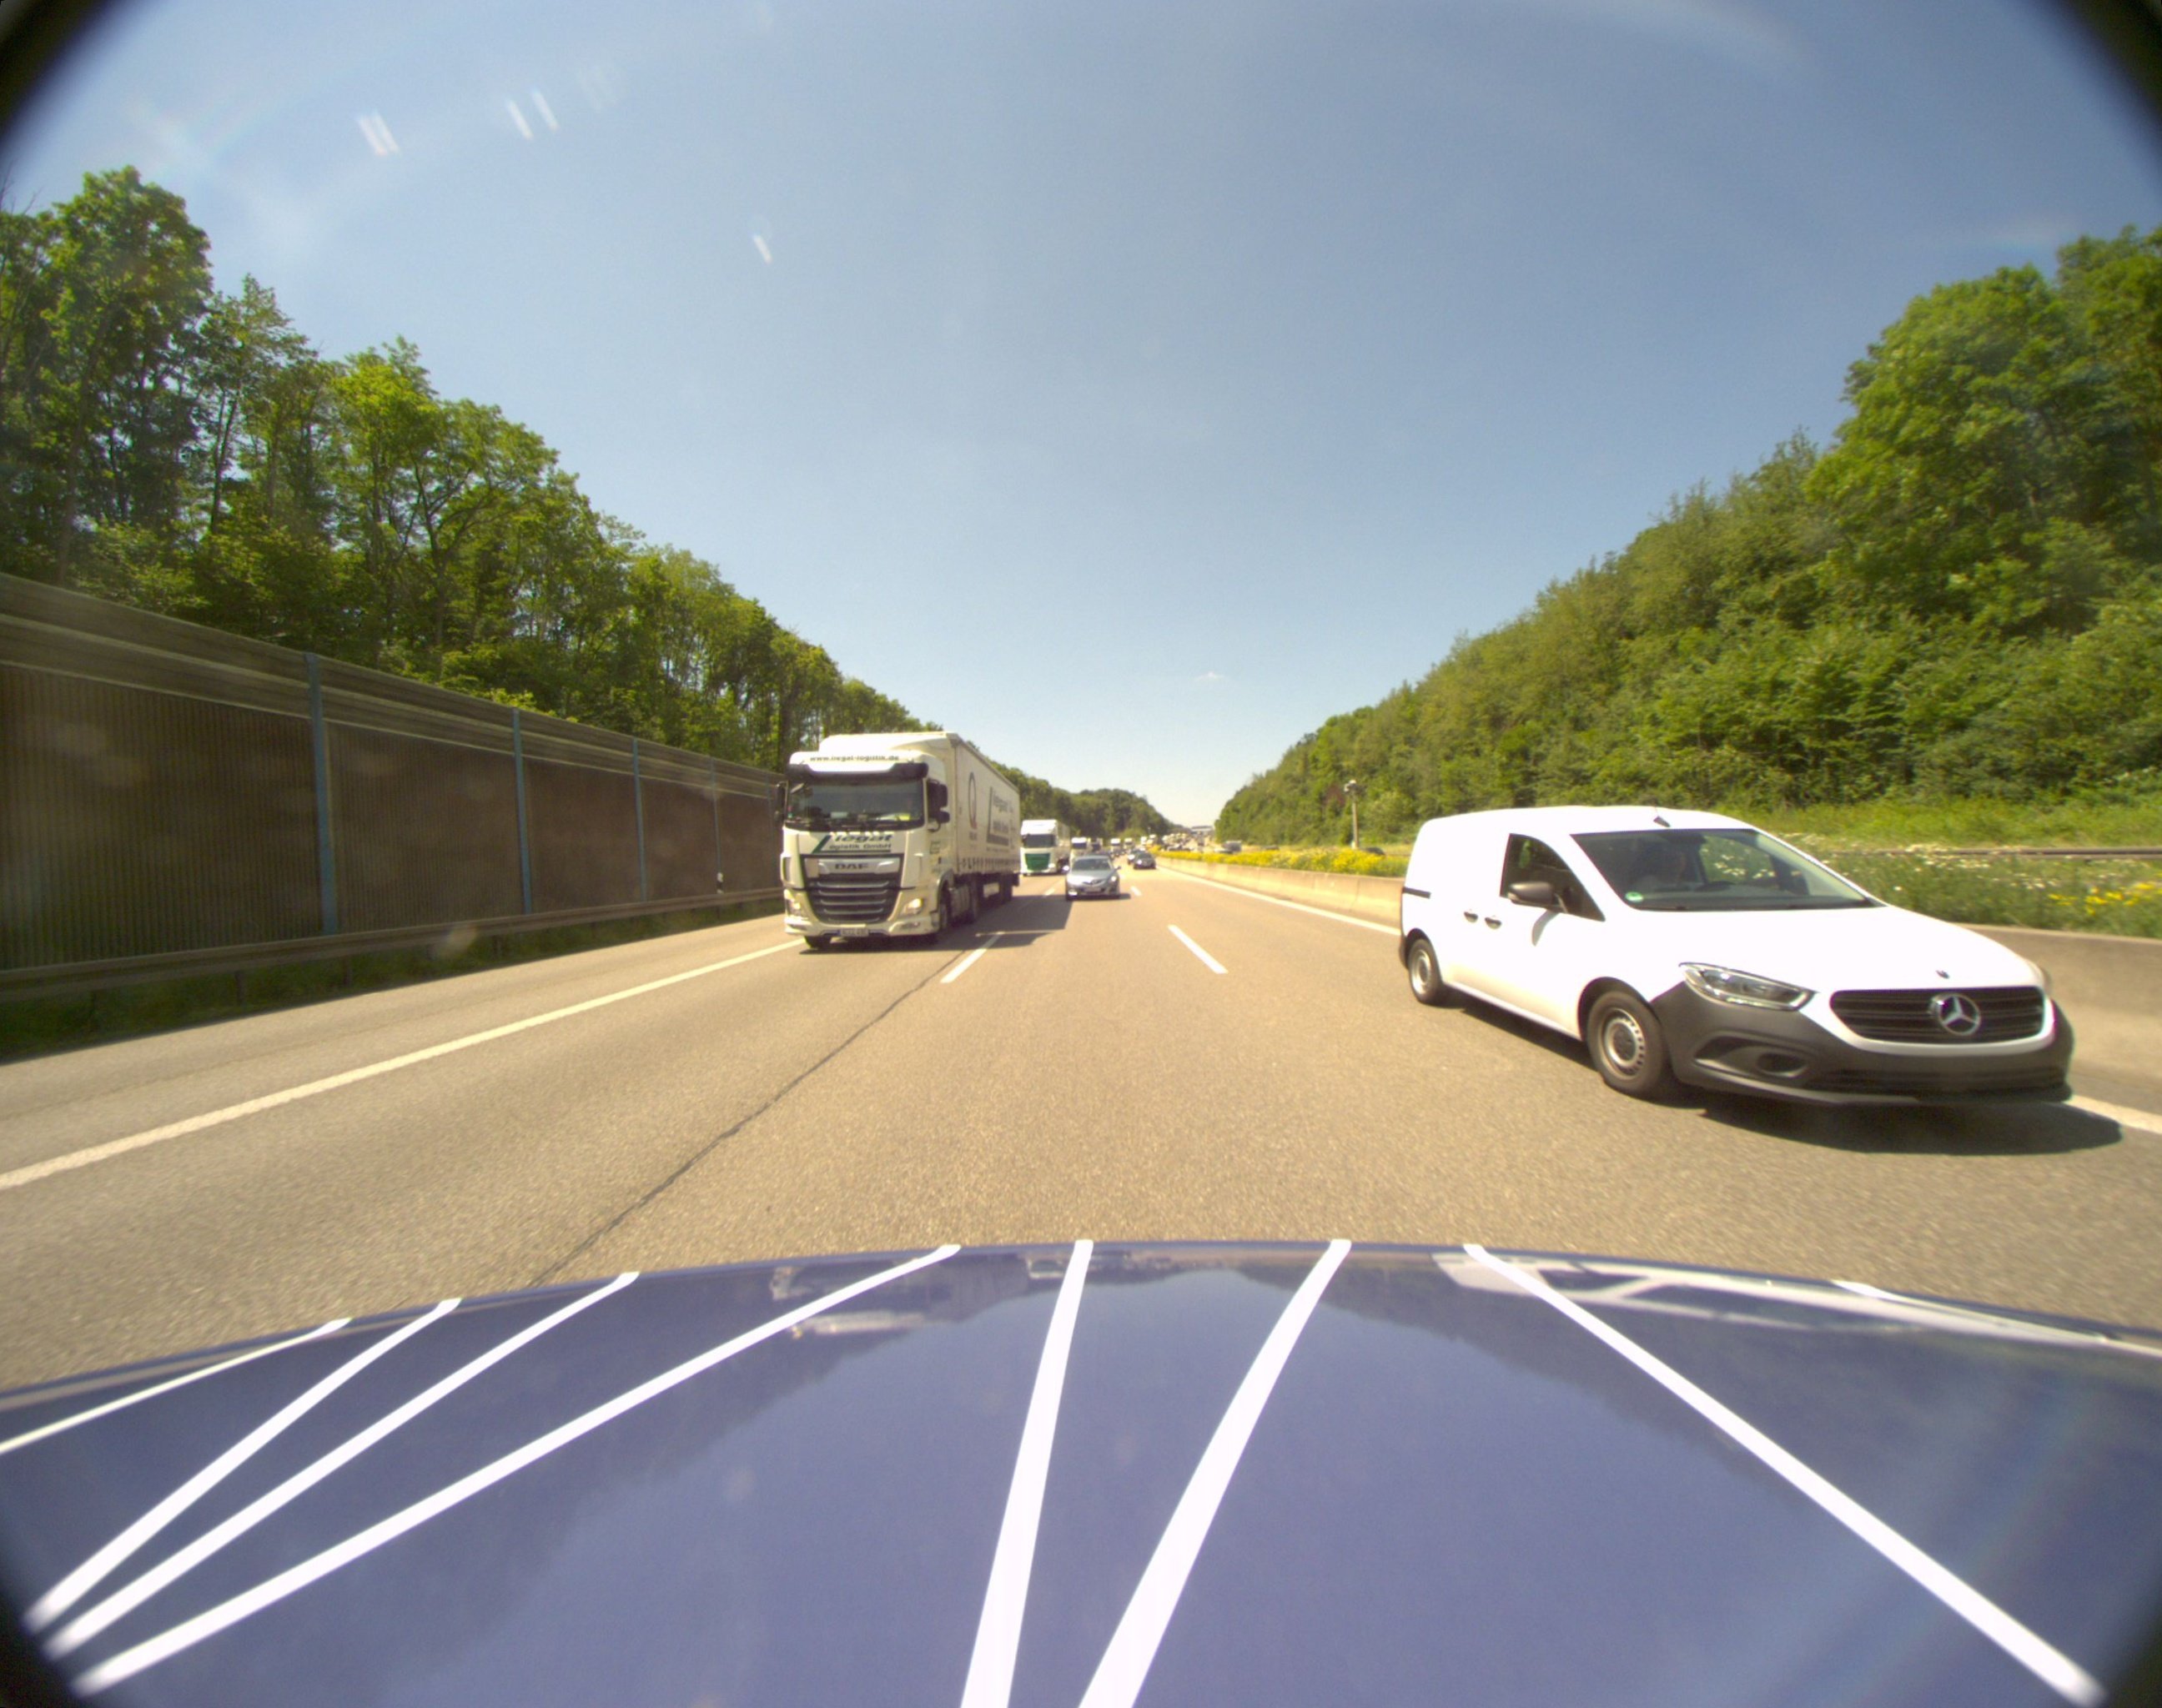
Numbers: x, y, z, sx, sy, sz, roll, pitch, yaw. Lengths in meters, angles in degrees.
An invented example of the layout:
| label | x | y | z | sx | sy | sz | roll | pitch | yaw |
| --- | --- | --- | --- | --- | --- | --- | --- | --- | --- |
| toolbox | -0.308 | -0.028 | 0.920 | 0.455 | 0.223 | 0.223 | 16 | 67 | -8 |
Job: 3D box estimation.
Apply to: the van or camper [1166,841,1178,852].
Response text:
| label | x | y | z | sx | sy | sz | roll | pitch | yaw |
| --- | --- | --- | --- | --- | --- | --- | --- | --- | --- |
| van or camper | 18.781 | -1.553 | 156.518 | 1.887 | 2.002 | 4.587 | -2 | 2 | 1 |

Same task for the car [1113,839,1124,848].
| label | x | y | z | sx | sy | sz | roll | pitch | yaw |
| --- | --- | --- | --- | --- | --- | --- | --- | --- | --- |
| car | 11.337 | -3.272 | 227.116 | 2.696 | 2.468 | 6.586 | -2 | 2 | 7 |

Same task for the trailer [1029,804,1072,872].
| label | x | y | z | sx | sy | sz | roll | pitch | yaw |
| --- | --- | --- | --- | --- | --- | --- | --- | --- | --- |
| trailer | -2.357 | -1.389 | 64.394 | 2.574 | 5.012 | 15.268 | -2 | 2 | 1 |

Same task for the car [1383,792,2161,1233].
| label | x | y | z | sx | sy | sz | roll | pitch | yaw |
| --- | --- | --- | --- | --- | --- | --- | --- | --- | --- |
| car | 3.997 | 0.638 | 5.490 | 1.769 | 1.802 | 4.673 | -2 | 1 | 1 |

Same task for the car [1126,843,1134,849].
| label | x | y | z | sx | sy | sz | roll | pitch | yaw |
| --- | --- | --- | --- | --- | --- | --- | --- | --- | --- |
| car | 13.243 | -2.148 | 203.752 | 1.997 | 1.728 | 4.001 | -2 | 2 | 6 |

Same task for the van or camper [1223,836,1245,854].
| label | x | y | z | sx | sy | sz | roll | pitch | yaw |
| --- | --- | --- | --- | --- | --- | --- | --- | --- | --- |
| van or camper | 22.969 | -1.403 | 114.364 | 2.191 | 2.546 | 6.931 | -2 | 2 | 2 |

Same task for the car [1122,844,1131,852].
| label | x | y | z | sx | sy | sz | roll | pitch | yaw |
| --- | --- | --- | --- | --- | --- | --- | --- | --- | --- |
| car | 10.637 | -1.374 | 177.667 | 1.997 | 1.728 | 4.001 | -2 | 2 | 7 |

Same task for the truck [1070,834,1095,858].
| label | x | y | z | sx | sy | sz | roll | pitch | yaw |
| --- | --- | --- | --- | --- | --- | --- | --- | --- | --- |
| truck | 0.313 | -1.287 | 115.859 | 3.262 | 3.337 | 6.863 | -2 | 2 | 4 |

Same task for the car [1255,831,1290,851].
| label | x | y | z | sx | sy | sz | roll | pitch | yaw |
| --- | --- | --- | --- | --- | --- | --- | --- | --- | --- |
| car | 16.258 | -1.127 | 64.649 | 1.998 | 1.581 | 4.161 | -2 | 2 | 1 |

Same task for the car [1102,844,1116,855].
| label | x | y | z | sx | sy | sz | roll | pitch | yaw |
| --- | --- | --- | --- | --- | --- | --- | --- | --- | --- |
| car | 4.626 | -0.744 | 125.035 | 1.998 | 1.728 | 4.000 | -2 | 2 | 5 |

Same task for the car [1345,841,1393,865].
| label | x | y | z | sx | sy | sz | roll | pitch | yaw |
| --- | --- | --- | --- | --- | --- | --- | --- | --- | --- |
| car | 19.525 | -0.081 | 51.611 | 1.792 | 1.448 | 3.999 | -2 | 2 | 1 |

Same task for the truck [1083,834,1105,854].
| label | x | y | z | sx | sy | sz | roll | pitch | yaw |
| --- | --- | --- | --- | --- | --- | --- | --- | --- | --- |
| truck | 2.616 | -2.004 | 150.295 | 3.557 | 3.695 | 7.551 | -2 | 2 | 5 |

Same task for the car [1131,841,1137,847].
| label | x | y | z | sx | sy | sz | roll | pitch | yaw |
| --- | --- | --- | --- | --- | --- | --- | --- | --- | --- |
| car | 16.834 | -3.140 | 241.260 | 1.997 | 1.728 | 4.001 | -2 | 2 | 6 |

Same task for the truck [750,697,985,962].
| label | x | y | z | sx | sy | sz | roll | pitch | yaw |
| --- | --- | --- | --- | --- | --- | --- | --- | --- | --- |
| truck | -3.818 | -0.388 | 15.198 | 2.793 | 4.180 | 5.869 | -2 | 0 | 1 |

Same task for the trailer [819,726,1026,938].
| label | x | y | z | sx | sy | sz | roll | pitch | yaw |
| --- | --- | --- | --- | --- | --- | --- | --- | --- | --- |
| trailer | -3.678 | -0.432 | 21.928 | 2.792 | 4.180 | 13.244 | -2 | 0 | 1 |

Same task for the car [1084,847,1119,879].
| label | x | y | z | sx | sy | sz | roll | pitch | yaw |
| --- | --- | --- | --- | --- | --- | --- | --- | --- | --- |
| car | 1.201 | 0.496 | 44.284 | 1.887 | 1.696 | 4.084 | -2 | 0 | 2 |

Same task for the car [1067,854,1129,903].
| label | x | y | z | sx | sy | sz | roll | pitch | yaw |
| --- | --- | --- | --- | --- | --- | --- | --- | --- | --- |
| car | 0.507 | 0.787 | 26.120 | 1.887 | 1.459 | 4.247 | -2 | 0 | -1 |

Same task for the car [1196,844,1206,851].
| label | x | y | z | sx | sy | sz | roll | pitch | yaw |
| --- | --- | --- | --- | --- | --- | --- | --- | --- | --- |
| car | 28.577 | -1.644 | 181.031 | 1.998 | 1.607 | 4.485 | -2 | 0 | 6 |

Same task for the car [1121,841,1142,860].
| label | x | y | z | sx | sy | sz | roll | pitch | yaw |
| --- | --- | --- | --- | --- | --- | --- | --- | --- | --- |
| car | 5.625 | -0.462 | 85.098 | 1.999 | 2.002 | 3.998 | -2 | 2 | -1 |

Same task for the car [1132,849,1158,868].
| label | x | y | z | sx | sy | sz | roll | pitch | yaw |
| --- | --- | --- | --- | --- | --- | --- | --- | --- | --- |
| car | 5.354 | 0.324 | 63.767 | 1.720 | 1.470 | 3.999 | -2 | 1 | -1 |

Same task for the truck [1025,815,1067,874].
| label | x | y | z | sx | sy | sz | roll | pitch | yaw |
| --- | --- | --- | --- | --- | --- | --- | --- | --- | --- |
| truck | -2.500 | -0.734 | 56.190 | 2.542 | 4.007 | 6.624 | -2 | 2 | 2 |

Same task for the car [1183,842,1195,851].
| label | x | y | z | sx | sy | sz | roll | pitch | yaw |
| --- | --- | --- | --- | --- | --- | --- | --- | --- | --- |
| car | 22.747 | -1.599 | 159.658 | 1.998 | 1.681 | 4.400 | -2 | 2 | 2 |

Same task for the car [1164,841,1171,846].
| label | x | y | z | sx | sy | sz | roll | pitch | yaw |
| --- | --- | --- | --- | --- | --- | --- | --- | --- | --- |
| car | 25.735 | -3.142 | 227.287 | 1.997 | 1.464 | 4.874 | -2 | 2 | 6 |

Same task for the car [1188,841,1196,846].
| label | x | y | z | sx | sy | sz | roll | pitch | yaw |
| --- | --- | --- | --- | --- | --- | --- | --- | --- | --- |
| car | 32.904 | -3.090 | 225.126 | 1.998 | 1.434 | 4.171 | -2 | 2 | 3 |

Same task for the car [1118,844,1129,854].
| label | x | y | z | sx | sy | sz | roll | pitch | yaw |
| --- | --- | --- | --- | --- | --- | --- | --- | --- | --- |
| car | 8.508 | -1.044 | 151.901 | 1.998 | 1.728 | 4.000 | -2 | 2 | 5 |

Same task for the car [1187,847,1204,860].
| label | x | y | z | sx | sy | sz | roll | pitch | yaw |
| --- | --- | --- | --- | --- | --- | --- | --- | --- | --- |
| car | 13.637 | -0.040 | 90.477 | 1.481 | 1.434 | 3.563 | -2 | 2 | 1 |

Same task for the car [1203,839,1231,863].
| label | x | y | z | sx | sy | sz | roll | pitch | yaw |
| --- | --- | --- | --- | --- | --- | --- | --- | --- | --- |
| car | 12.167 | -0.268 | 68.290 | 1.998 | 2.002 | 4.000 | -2 | 2 | 3 |

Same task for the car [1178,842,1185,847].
| label | x | y | z | sx | sy | sz | roll | pitch | yaw |
| --- | --- | --- | --- | --- | --- | --- | --- | --- | --- |
| car | 30.748 | -2.966 | 232.941 | 1.998 | 1.478 | 4.000 | -2 | 2 | 4 |
